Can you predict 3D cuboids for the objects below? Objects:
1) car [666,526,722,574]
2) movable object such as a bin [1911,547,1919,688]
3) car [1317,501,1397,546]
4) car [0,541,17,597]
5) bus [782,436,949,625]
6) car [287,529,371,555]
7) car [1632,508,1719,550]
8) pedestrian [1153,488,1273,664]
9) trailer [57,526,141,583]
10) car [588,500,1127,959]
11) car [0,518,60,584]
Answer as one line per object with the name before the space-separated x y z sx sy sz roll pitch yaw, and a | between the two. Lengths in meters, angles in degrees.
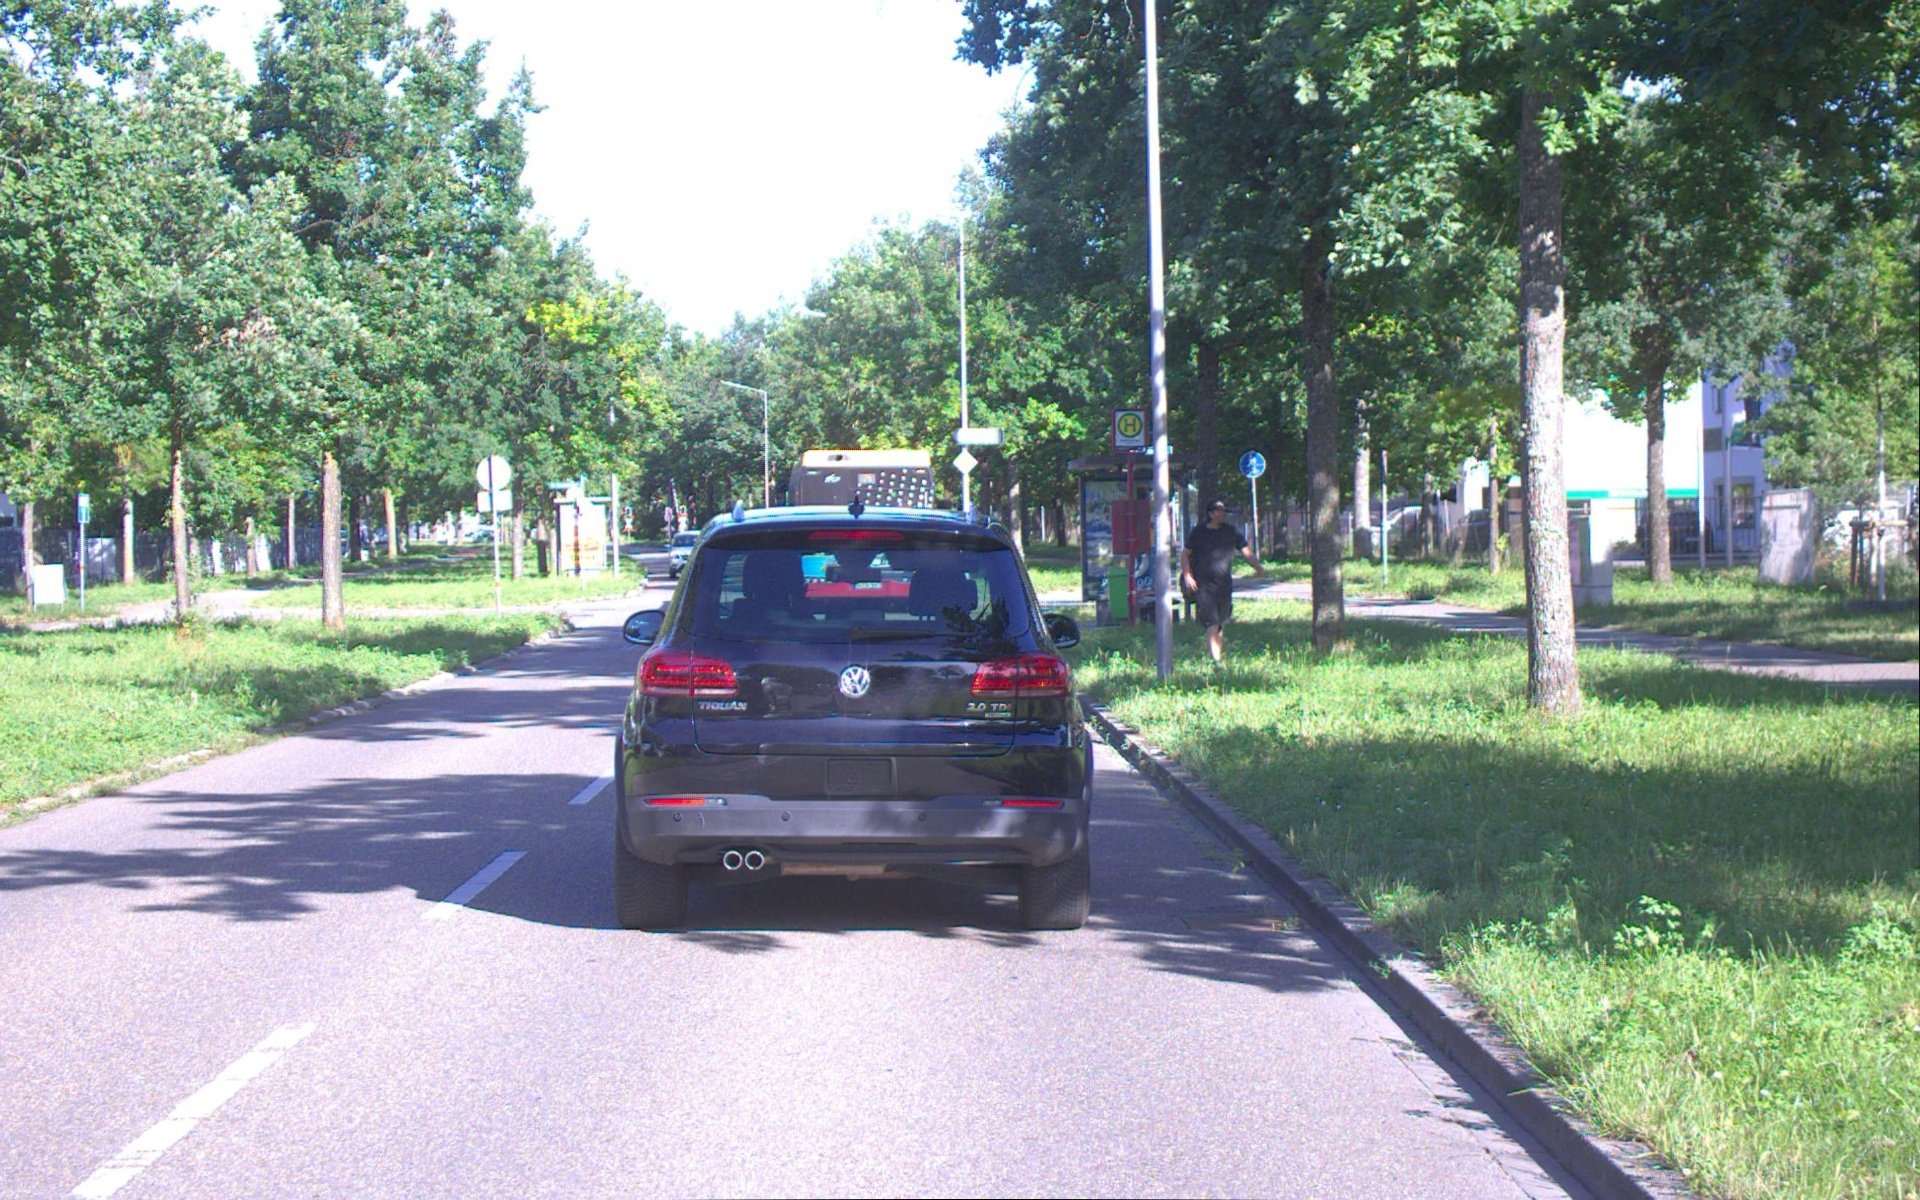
car | -8.761 -1.665 112.848 1.744 1.460 4.428 -2 2 -5
movable object such as a bin | 7.698 0.125 25.962 0.725 1.077 0.867 -3 1 -1
car | 15.837 -3.068 137.251 2.184 1.738 4.643 -1 2 -6
car | -27.517 -0.772 91.070 4.501 1.474 1.941 -1 1 3
bus | -2.030 -1.431 69.211 2.764 3.444 11.213 -1 2 -4
car | -34.209 -3.167 186.452 4.198 1.316 1.941 -1 1 1
car | 24.145 -2.405 116.142 1.764 1.379 3.769 -1 2 -7
pedestrian | 2.419 -0.237 33.027 1.019 1.646 1.100 -1 1 -1
trailer | -29.898 -1.606 119.437 2.102 1.908 3.741 -1 2 -3
car | -0.419 0.408 14.643 1.936 1.650 4.427 0 2 -1
car | -29.380 -1.525 106.061 2.035 1.981 5.808 -1 1 -4
